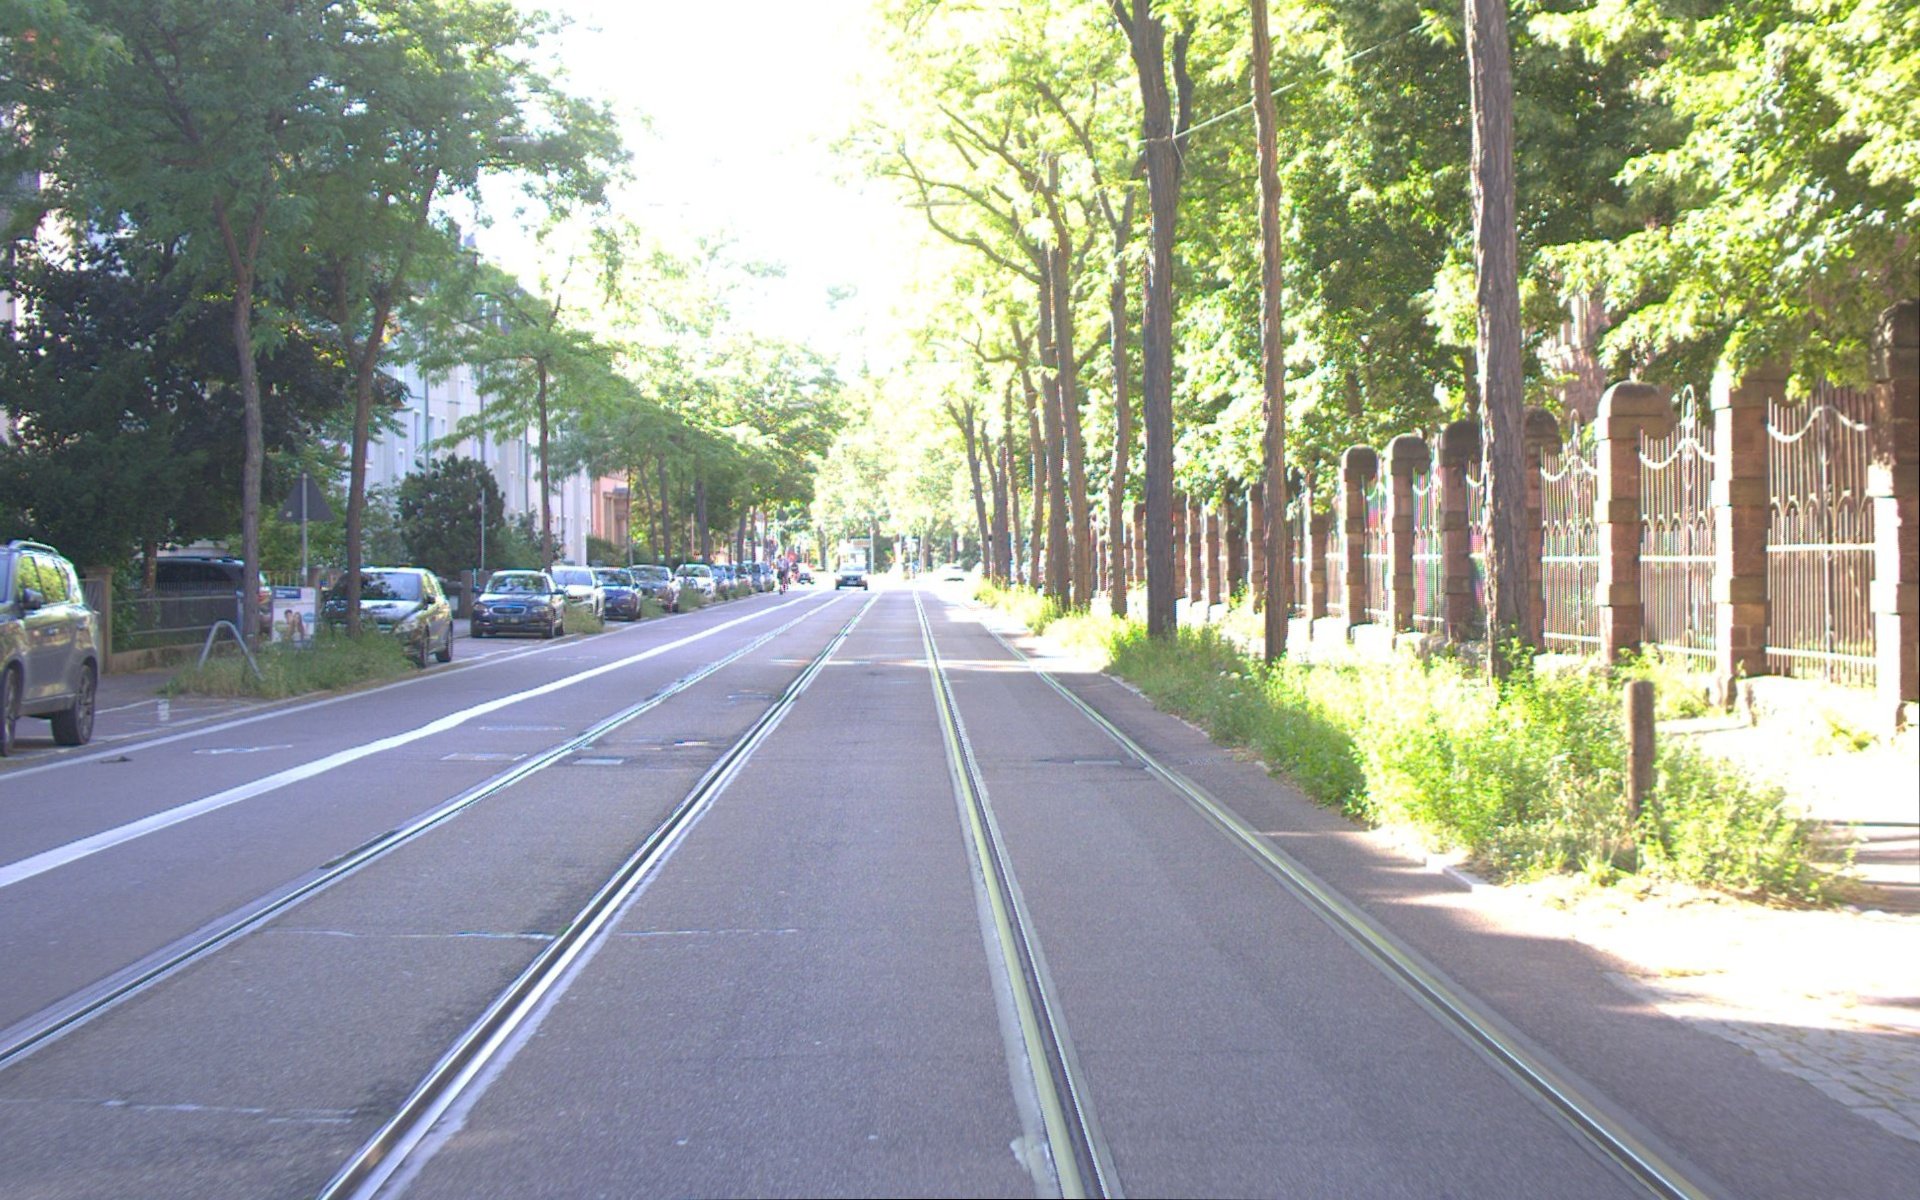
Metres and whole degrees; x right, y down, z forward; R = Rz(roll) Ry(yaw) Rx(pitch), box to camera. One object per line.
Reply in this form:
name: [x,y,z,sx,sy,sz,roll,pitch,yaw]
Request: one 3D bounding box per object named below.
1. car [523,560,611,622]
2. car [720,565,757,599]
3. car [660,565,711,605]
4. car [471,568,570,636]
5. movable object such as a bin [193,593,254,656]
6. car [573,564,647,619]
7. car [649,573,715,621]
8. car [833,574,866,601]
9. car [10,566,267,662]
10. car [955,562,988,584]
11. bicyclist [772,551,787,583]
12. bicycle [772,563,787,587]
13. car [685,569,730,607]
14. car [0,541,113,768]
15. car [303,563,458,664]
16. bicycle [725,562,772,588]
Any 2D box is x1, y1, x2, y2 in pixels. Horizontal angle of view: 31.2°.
car: [-9.817,-0.241,86.108,1.817,1.506,4.371,1,1,-2]
car: [-9.879,-0.805,153.420,1.560,1.452,3.931,2,0,-3]
car: [-10.792,-0.599,135.502,1.702,1.480,4.079,2,1,-1]
car: [-9.510,0.027,74.607,1.705,1.401,4.334,1,1,-2]
movable object such as a bin: [-12.630,0.422,58.982,0.875,1.062,0.814,-1,0,-1]
car: [-9.771,-0.256,96.331,1.757,1.506,4.439,1,1,-2]
car: [-8.847,-0.113,109.547,1.817,1.480,4.206,1,1,-1]
car: [-5.981,-0.702,185.796,1.757,1.434,4.524,0,1,-2]
car: [-14.706,0.244,61.732,4.165,1.653,1.983,1,0,-2]
car: [0.808,-1.952,248.420,1.942,1.605,4.001,0,0,-6]
bicyclist: [-9.328,-1.709,177.633,0.626,1.633,0.940,-3,0,-1]
bicycle: [-9.316,-1.290,177.701,0.626,1.173,1.913,-3,1,-1]
car: [-10.530,-0.510,143.390,1.687,1.480,3.760,2,0,-2]
car: [-8.734,0.409,29.696,1.870,1.816,4.772,0,1,-3]
car: [-9.279,0.179,55.341,1.776,1.536,4.486,1,1,-1]
bicycle: [-10.634,-1.249,172.673,2.285,1.194,0.559,2,1,6]
